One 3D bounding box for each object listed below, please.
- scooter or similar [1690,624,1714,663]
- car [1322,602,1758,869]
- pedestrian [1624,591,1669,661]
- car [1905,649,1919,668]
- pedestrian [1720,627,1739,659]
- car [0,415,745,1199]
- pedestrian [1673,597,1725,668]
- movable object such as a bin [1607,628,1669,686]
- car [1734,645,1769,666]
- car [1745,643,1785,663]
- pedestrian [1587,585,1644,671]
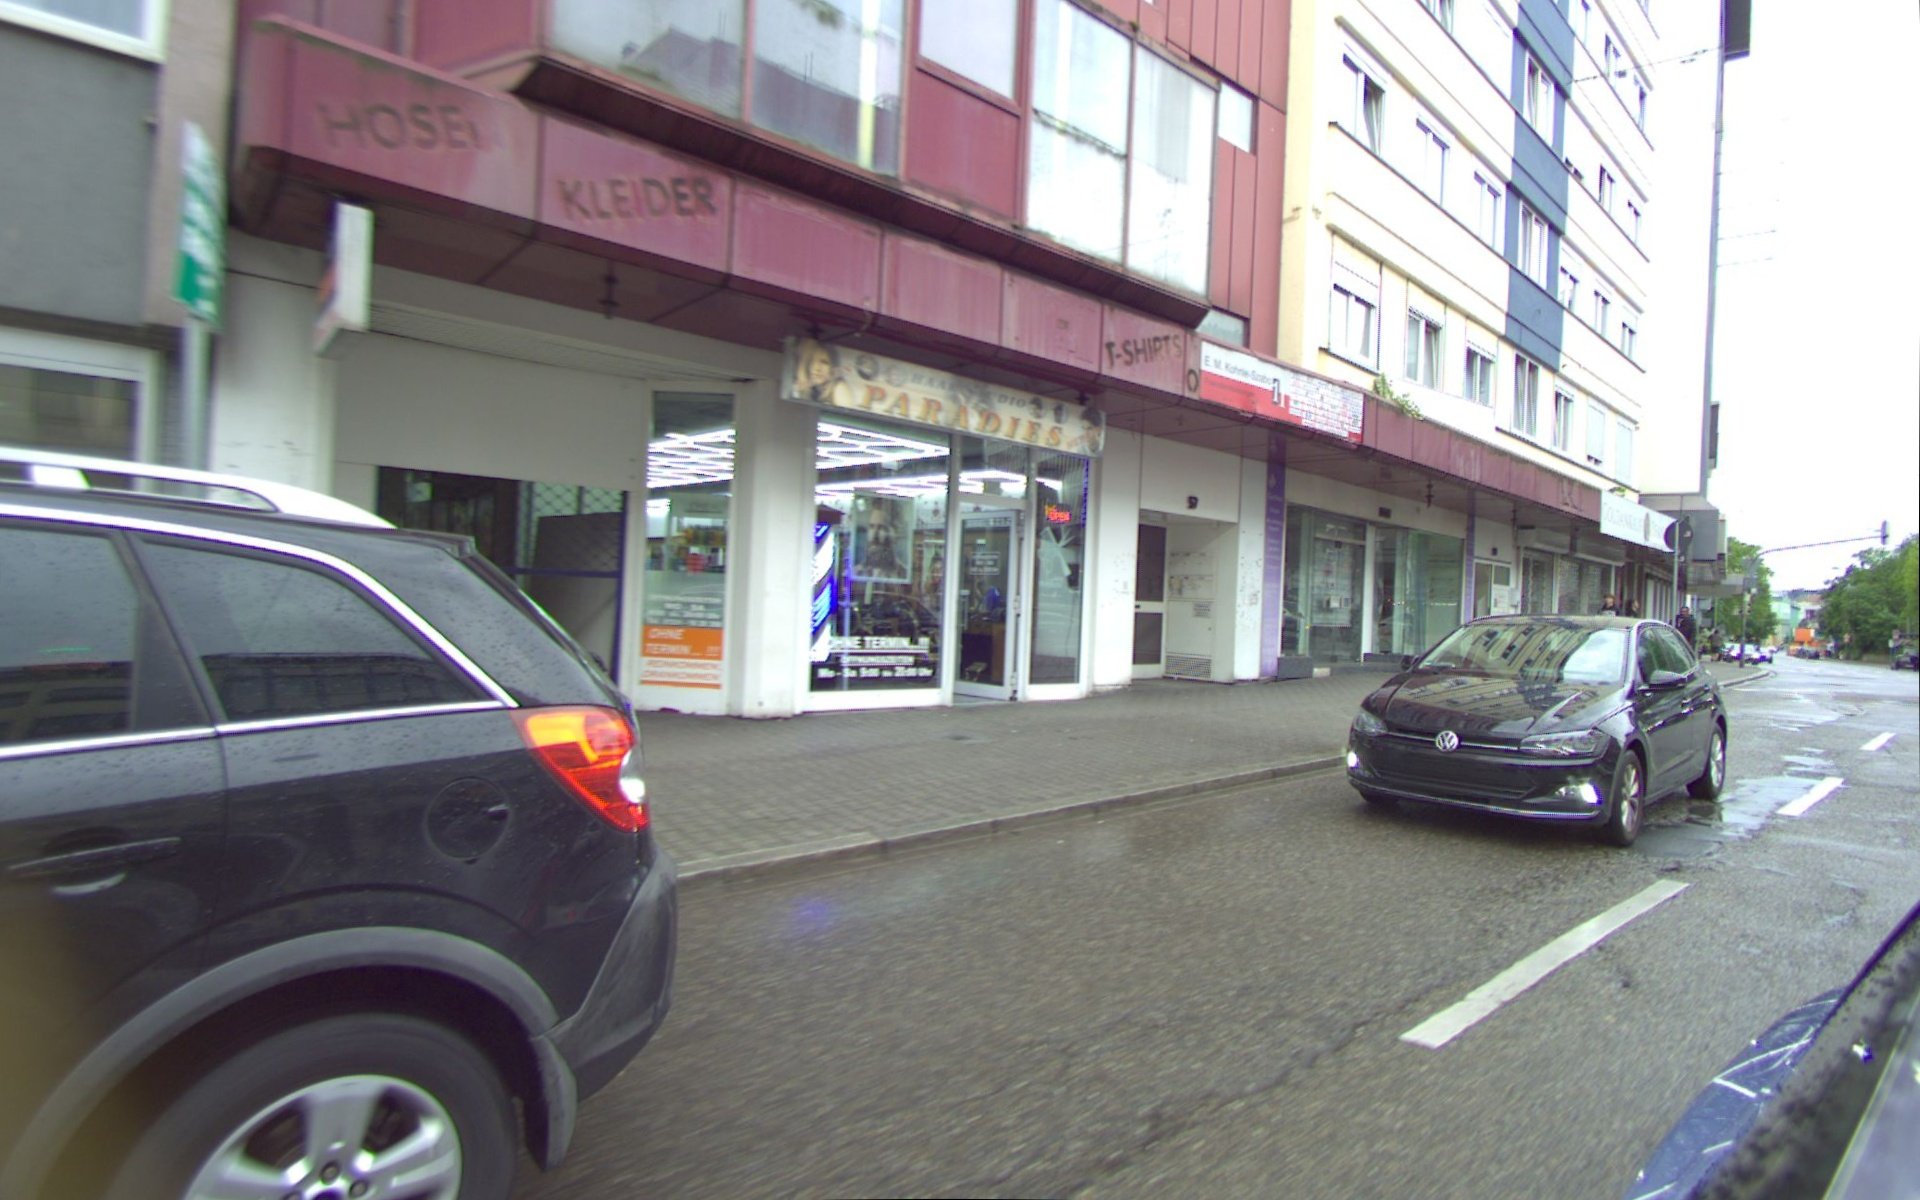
[{"bbox_3d":[26.425,1.539,36.028,1.127,1.378,0.377,1,-2,-37],"label":"scooter or similar"},{"bbox_3d":[4.498,0.771,7.610,3.813,1.448,1.740,0,1,-42],"label":"car"},{"bbox_3d":[17.954,0.679,26.488,0.772,1.786,0.618,2,-2,-20],"label":"pedestrian"},{"bbox_3d":[85.118,5.177,89.634,1.819,1.594,3.942,-1,-3,39],"label":"car"},{"bbox_3d":[40.080,2.244,52.711,0.734,1.667,0.632,-1,-2,39],"label":"pedestrian"},{"bbox_3d":[-2.734,0.586,1.665,4.225,1.808,1.911,3,-1,-41],"label":"car"},{"bbox_3d":[18.569,0.811,25.440,0.737,1.745,0.755,2,-2,-20],"label":"pedestrian"},{"bbox_3d":[12.355,1.029,18.450,0.659,0.945,0.533,4,3,-5],"label":"movable object such as a bin"},{"bbox_3d":[57.220,4.007,73.192,1.775,1.472,3.947,0,-3,36],"label":"car"},{"bbox_3d":[74.262,4.852,93.417,1.980,1.640,4.087,1,0,26],"label":"car"},{"bbox_3d":[14.314,0.612,22.098,0.835,1.786,0.608,6,0,42],"label":"pedestrian"}]
